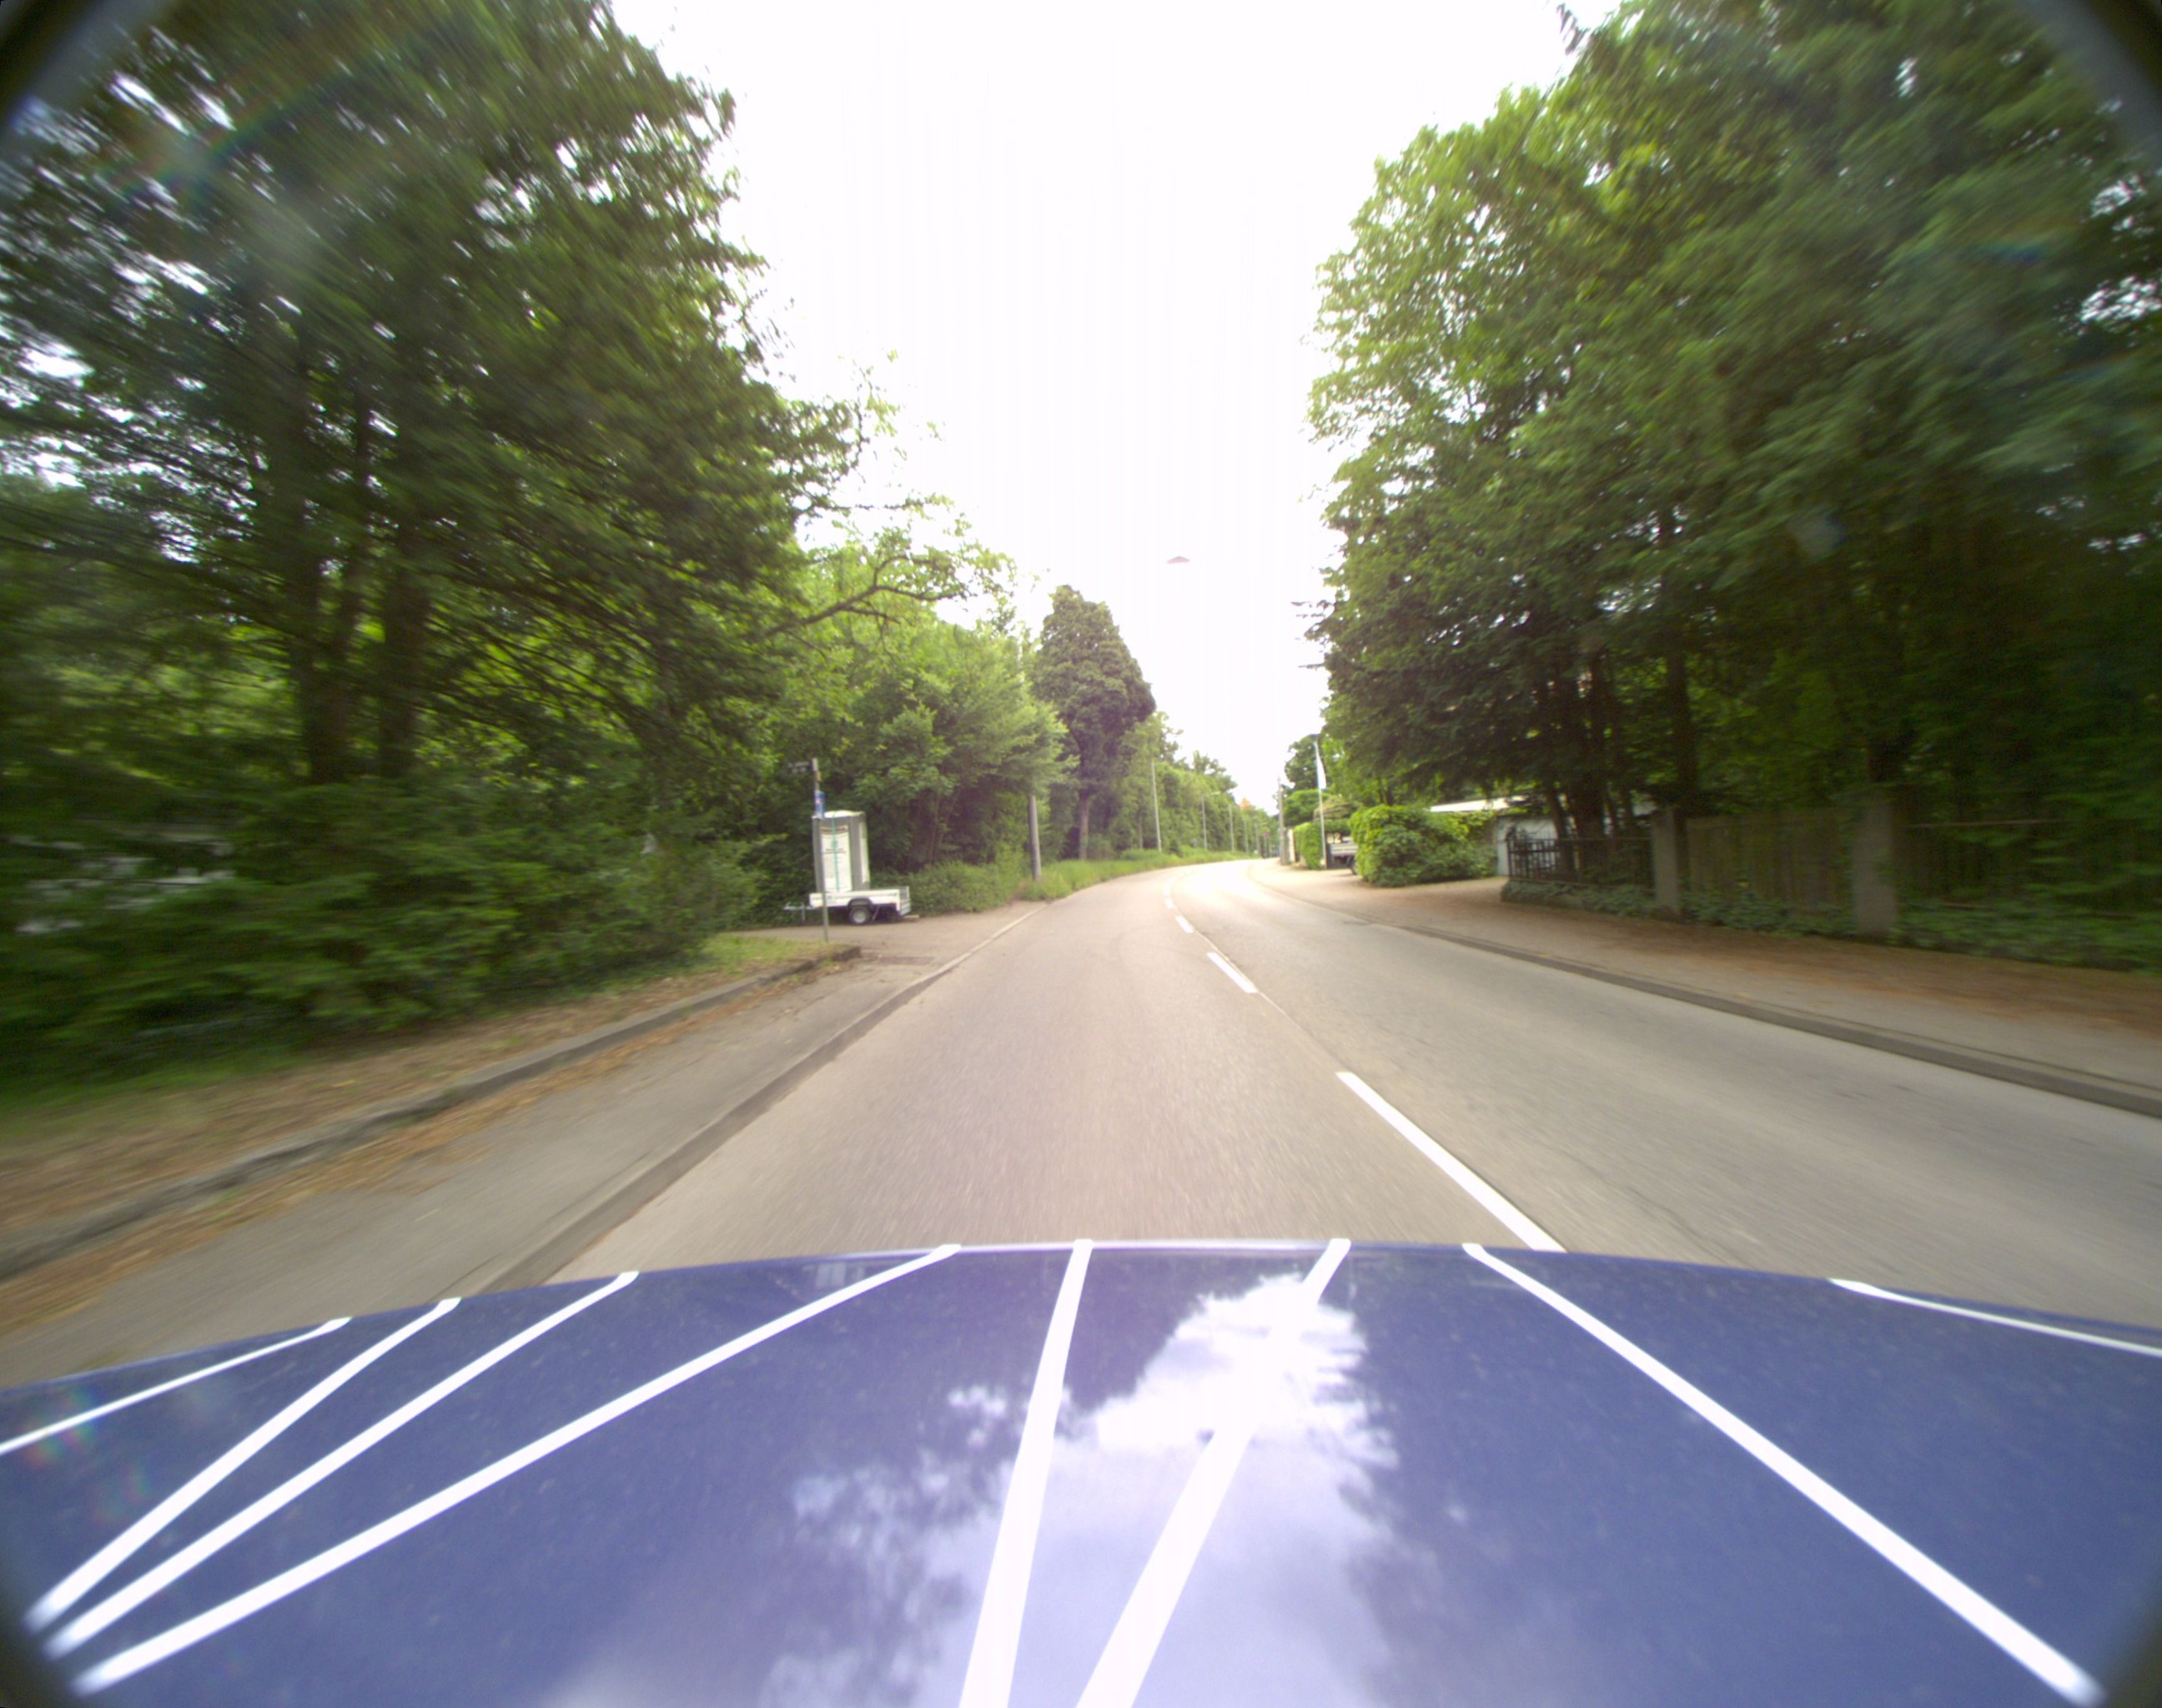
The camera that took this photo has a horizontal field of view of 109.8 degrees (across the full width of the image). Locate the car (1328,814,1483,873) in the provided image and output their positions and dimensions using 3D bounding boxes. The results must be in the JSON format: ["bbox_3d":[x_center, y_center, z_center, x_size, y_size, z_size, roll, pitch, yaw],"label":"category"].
[{"bbox_3d":[12.893,-0.361,30.628,2.429,2.061,5.351,-4,1,-26],"label":"car"}]

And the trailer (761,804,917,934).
[{"bbox_3d":[-5.799,0.350,18.466,3.124,2.883,1.593,-3,1,2],"label":"trailer"}]
